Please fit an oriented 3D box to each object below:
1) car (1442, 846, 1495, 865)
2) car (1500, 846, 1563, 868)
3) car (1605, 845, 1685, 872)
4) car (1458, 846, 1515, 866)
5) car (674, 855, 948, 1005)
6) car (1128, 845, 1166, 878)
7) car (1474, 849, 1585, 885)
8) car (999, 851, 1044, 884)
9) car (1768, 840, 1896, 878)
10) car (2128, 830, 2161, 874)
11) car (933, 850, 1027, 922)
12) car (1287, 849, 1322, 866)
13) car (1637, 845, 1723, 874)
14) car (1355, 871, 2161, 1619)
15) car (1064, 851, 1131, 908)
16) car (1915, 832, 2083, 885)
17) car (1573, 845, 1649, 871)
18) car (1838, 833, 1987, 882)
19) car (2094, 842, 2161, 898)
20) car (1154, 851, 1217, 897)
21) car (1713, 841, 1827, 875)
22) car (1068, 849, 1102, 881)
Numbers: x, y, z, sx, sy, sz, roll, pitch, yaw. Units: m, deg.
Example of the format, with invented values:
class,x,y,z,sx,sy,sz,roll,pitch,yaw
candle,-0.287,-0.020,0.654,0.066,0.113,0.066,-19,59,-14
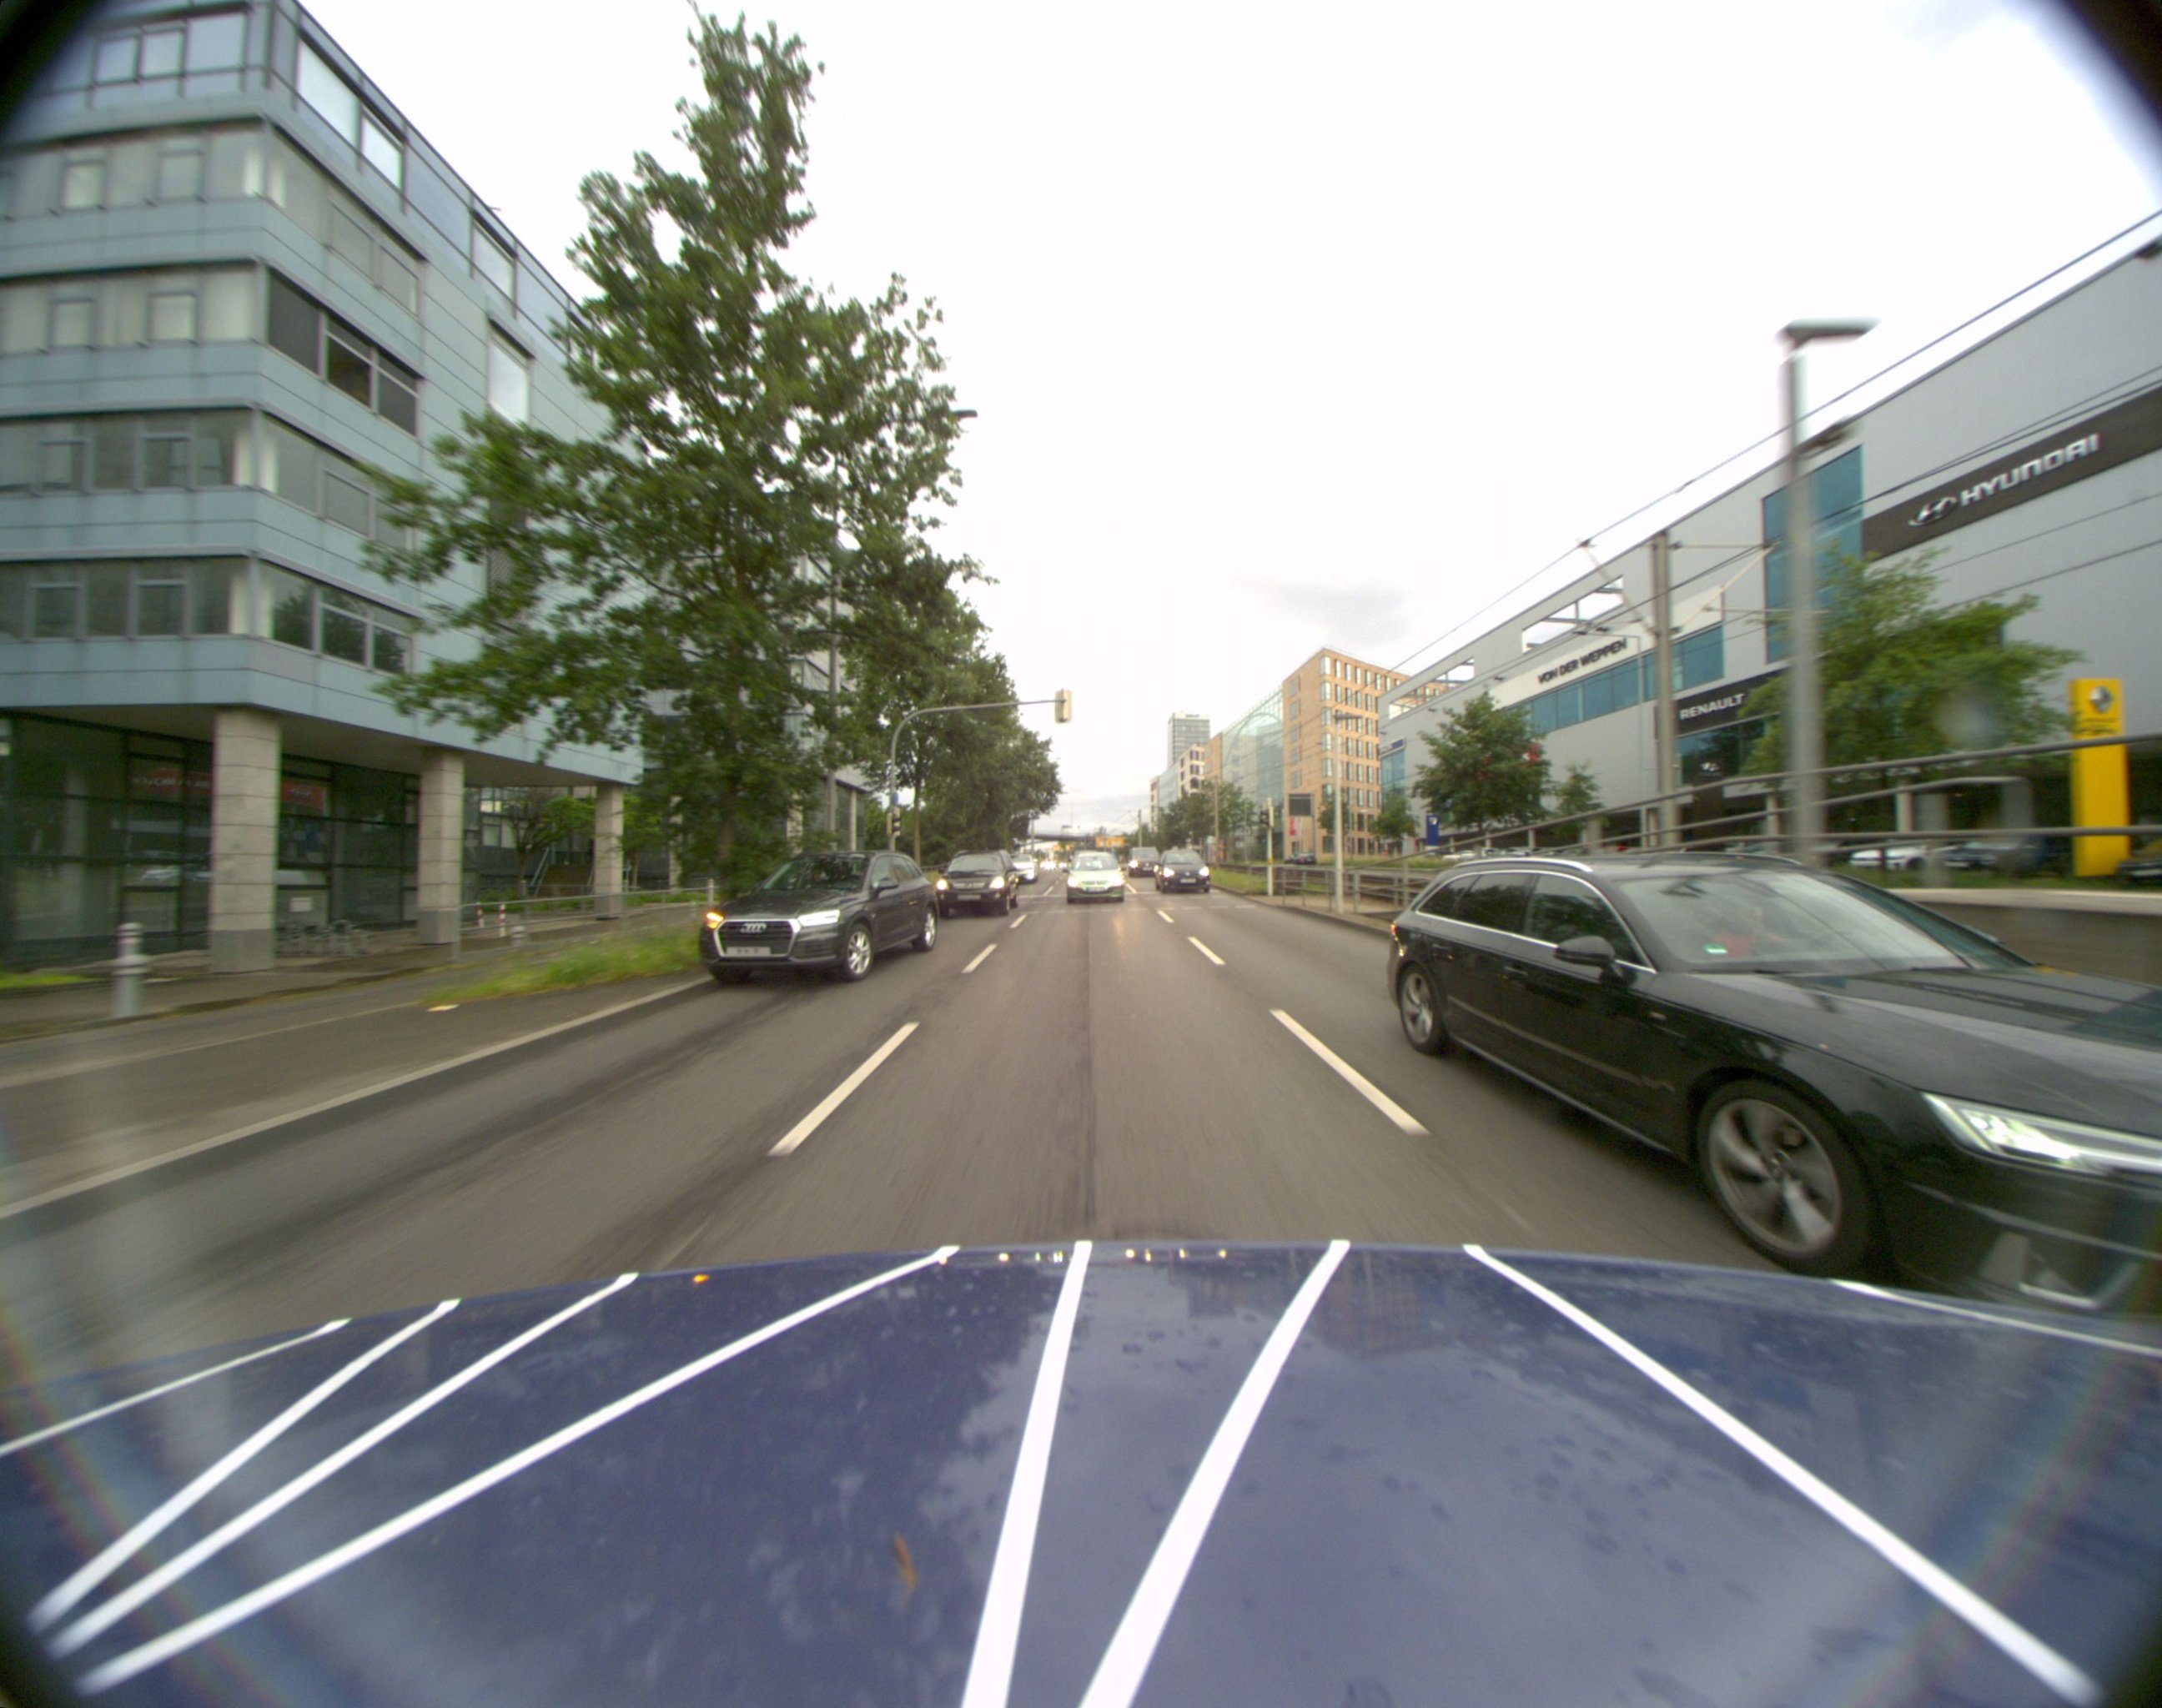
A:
class,x,y,z,sx,sy,sz,roll,pitch,yaw
car,32.124,0.132,62.969,3.846,1.482,1.820,-1,0,-22
car,32.546,0.191,54.933,3.845,1.482,1.821,-1,0,-17
car,32.876,0.259,44.289,3.845,1.482,1.821,-1,0,-17
car,32.230,0.150,60.375,3.845,1.482,1.821,-1,0,-17
car,-3.441,0.875,10.743,1.815,1.660,4.373,-1,0,7
car,3.633,0.399,42.341,1.781,1.670,4.131,-1,0,1
car,19.383,0.497,33.162,1.998,1.381,4.873,-2,1,1
car,-2.944,0.654,38.318,1.873,1.533,4.107,-1,0,1
car,32.463,0.214,32.890,3.999,1.482,1.823,-1,0,-6
car,37.950,-0.105,25.036,1.775,1.460,3.989,-1,0,-38
car,-2.565,0.763,20.370,1.816,1.660,4.549,-1,0,1
car,21.282,0.308,72.516,1.998,1.428,4.873,-2,1,1
car,32.855,0.289,41.695,3.845,1.482,1.821,-1,0,-17
car,3.172,0.870,3.934,1.794,1.426,4.828,-1,0,1
car,0.491,0.705,23.156,1.803,1.533,4.374,-1,0,1
car,32.862,0.159,27.272,3.999,1.652,1.921,-3,0,-6
car,32.593,0.241,46.751,3.845,1.482,1.821,-1,0,-17
car,32.693,0.136,29.942,3.999,1.652,1.921,-3,0,-6
car,32.427,0.423,22.062,3.999,1.499,1.896,-2,1,-7
car,3.704,0.661,27.467,1.798,1.493,4.000,-1,0,1
car,32.719,0.179,36.149,3.999,1.482,1.823,-1,0,-6
car,0.210,0.535,38.875,1.598,1.533,3.707,-1,0,1
